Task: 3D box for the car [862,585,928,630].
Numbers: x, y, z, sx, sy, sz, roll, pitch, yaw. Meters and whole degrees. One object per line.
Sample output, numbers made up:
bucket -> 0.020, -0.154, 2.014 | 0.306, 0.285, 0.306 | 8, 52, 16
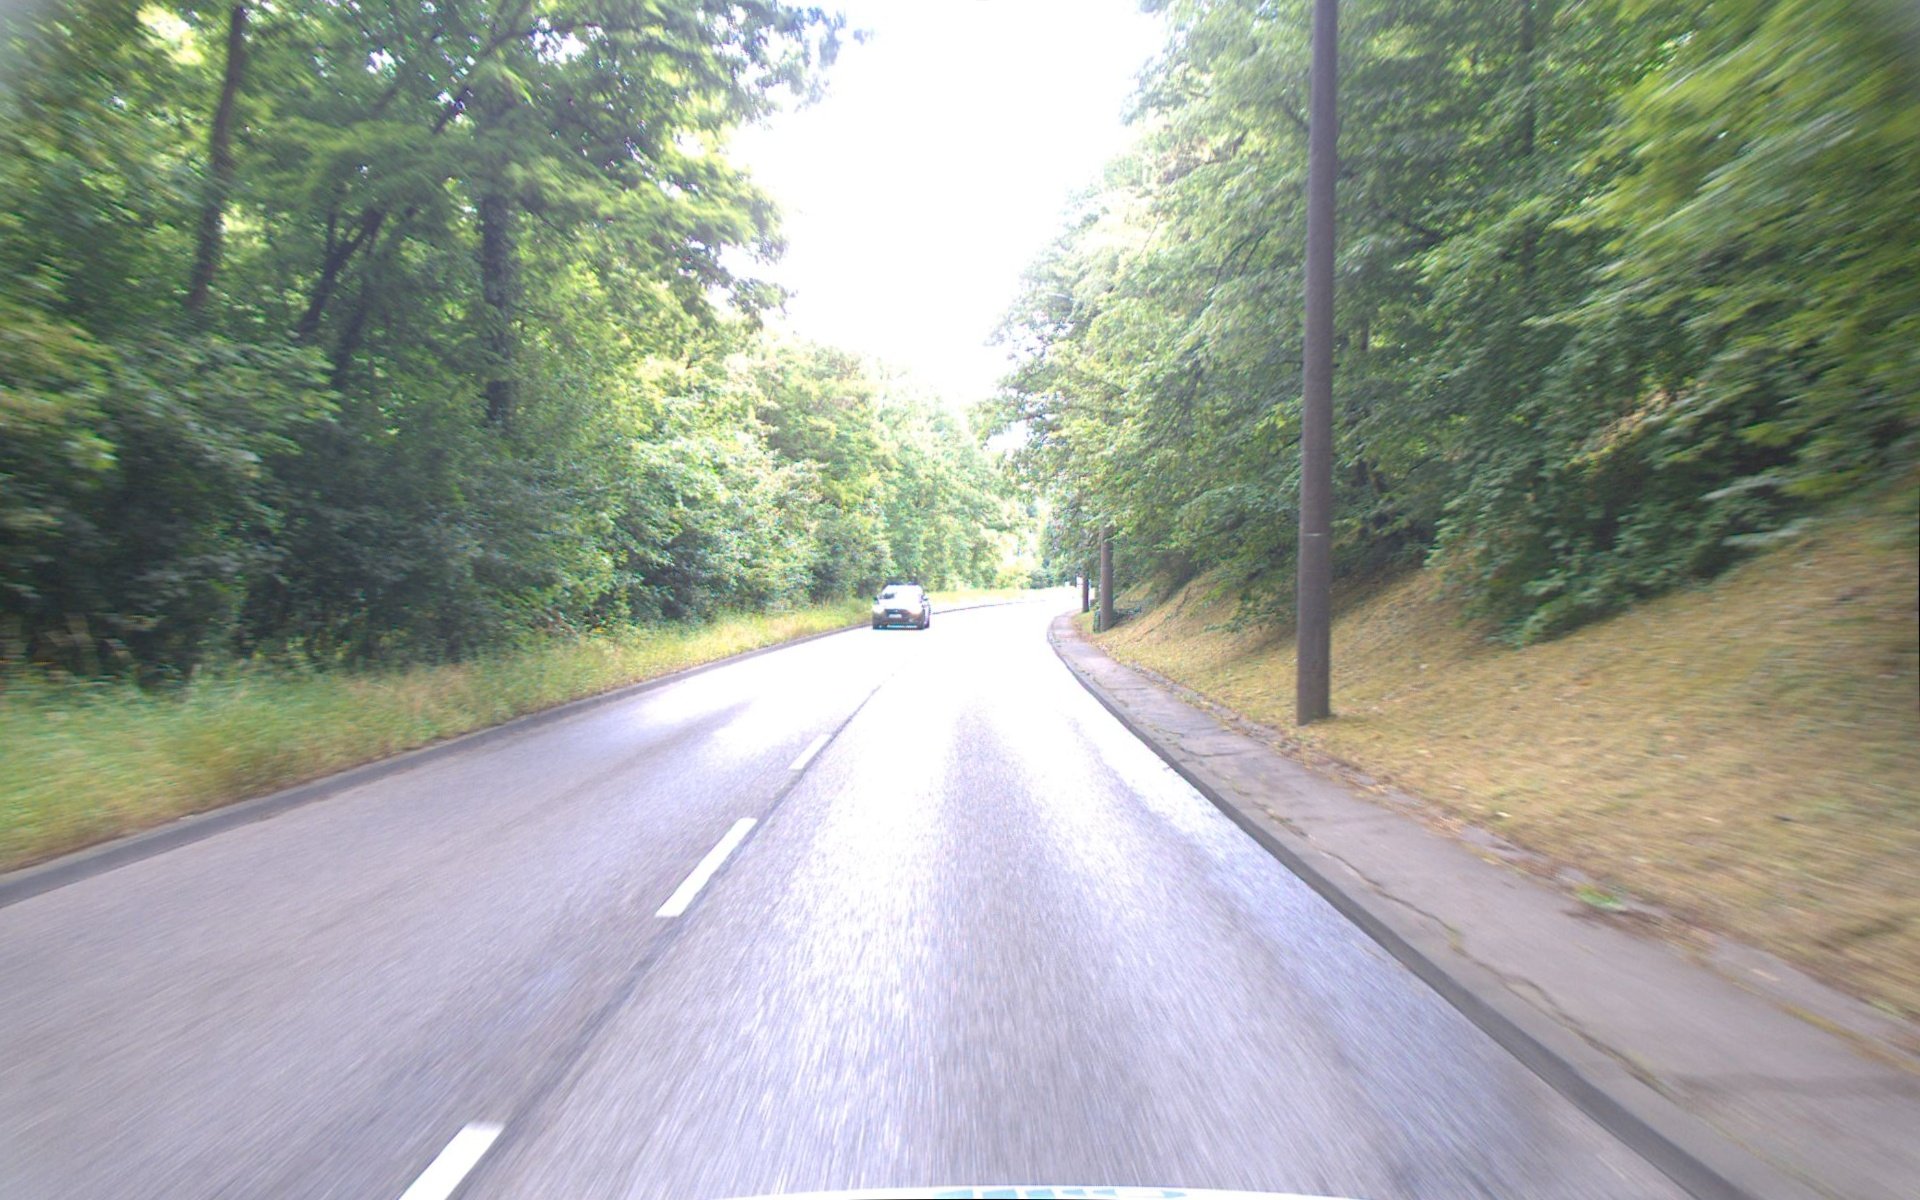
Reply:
car -> -2.293, 0.257, 57.545 | 1.956, 1.462, 3.994 | 1, -1, -7
